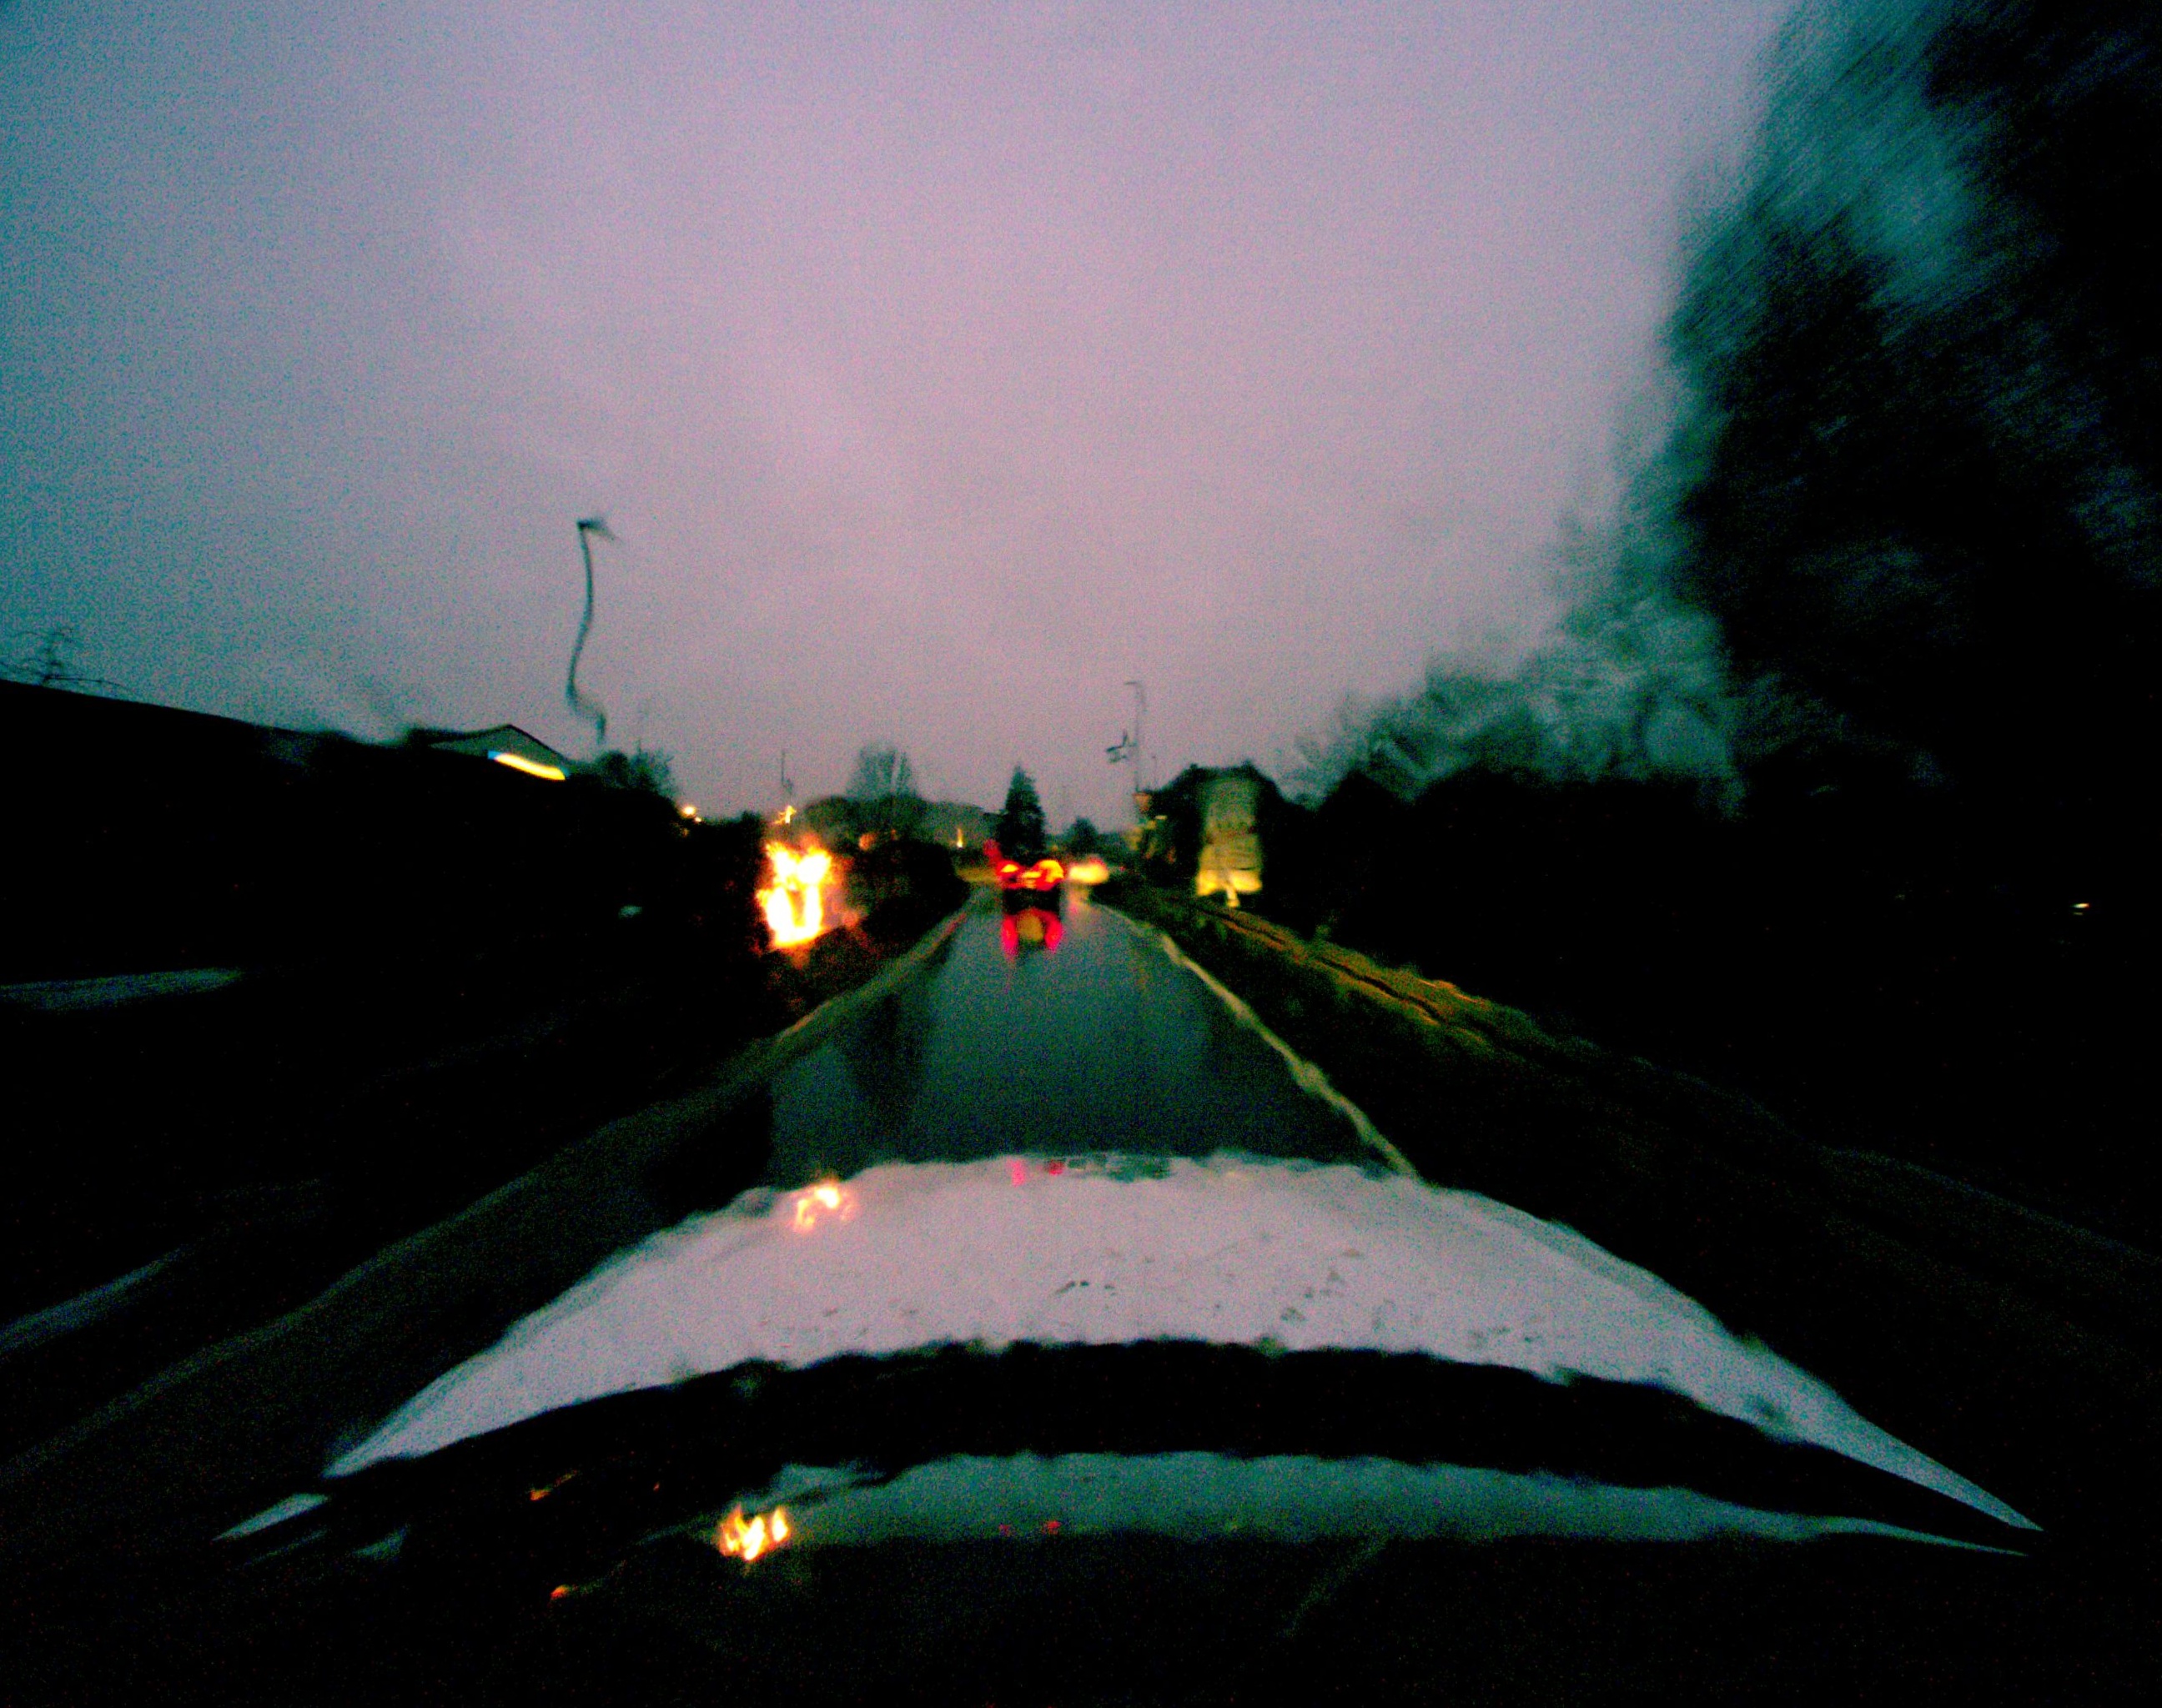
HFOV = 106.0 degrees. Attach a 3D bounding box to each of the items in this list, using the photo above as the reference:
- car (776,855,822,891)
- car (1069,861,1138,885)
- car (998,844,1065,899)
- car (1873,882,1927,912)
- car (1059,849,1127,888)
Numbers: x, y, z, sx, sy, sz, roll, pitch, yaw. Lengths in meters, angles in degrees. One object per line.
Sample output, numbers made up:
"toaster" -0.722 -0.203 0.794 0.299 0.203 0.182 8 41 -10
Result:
"car" -12.180 0.776 35.053 1.614 1.469 3.656 0 0 -24
"car" 1.483 1.325 55.747 4.512 1.615 1.900 -2 -3 40
"car" -1.746 0.557 27.501 1.943 1.718 3.989 1 0 -8
"car" 45.083 2.325 44.819 4.022 1.486 1.892 0 -1 -42
"car" 0.643 0.630 39.220 2.147 1.689 4.591 0 1 16
